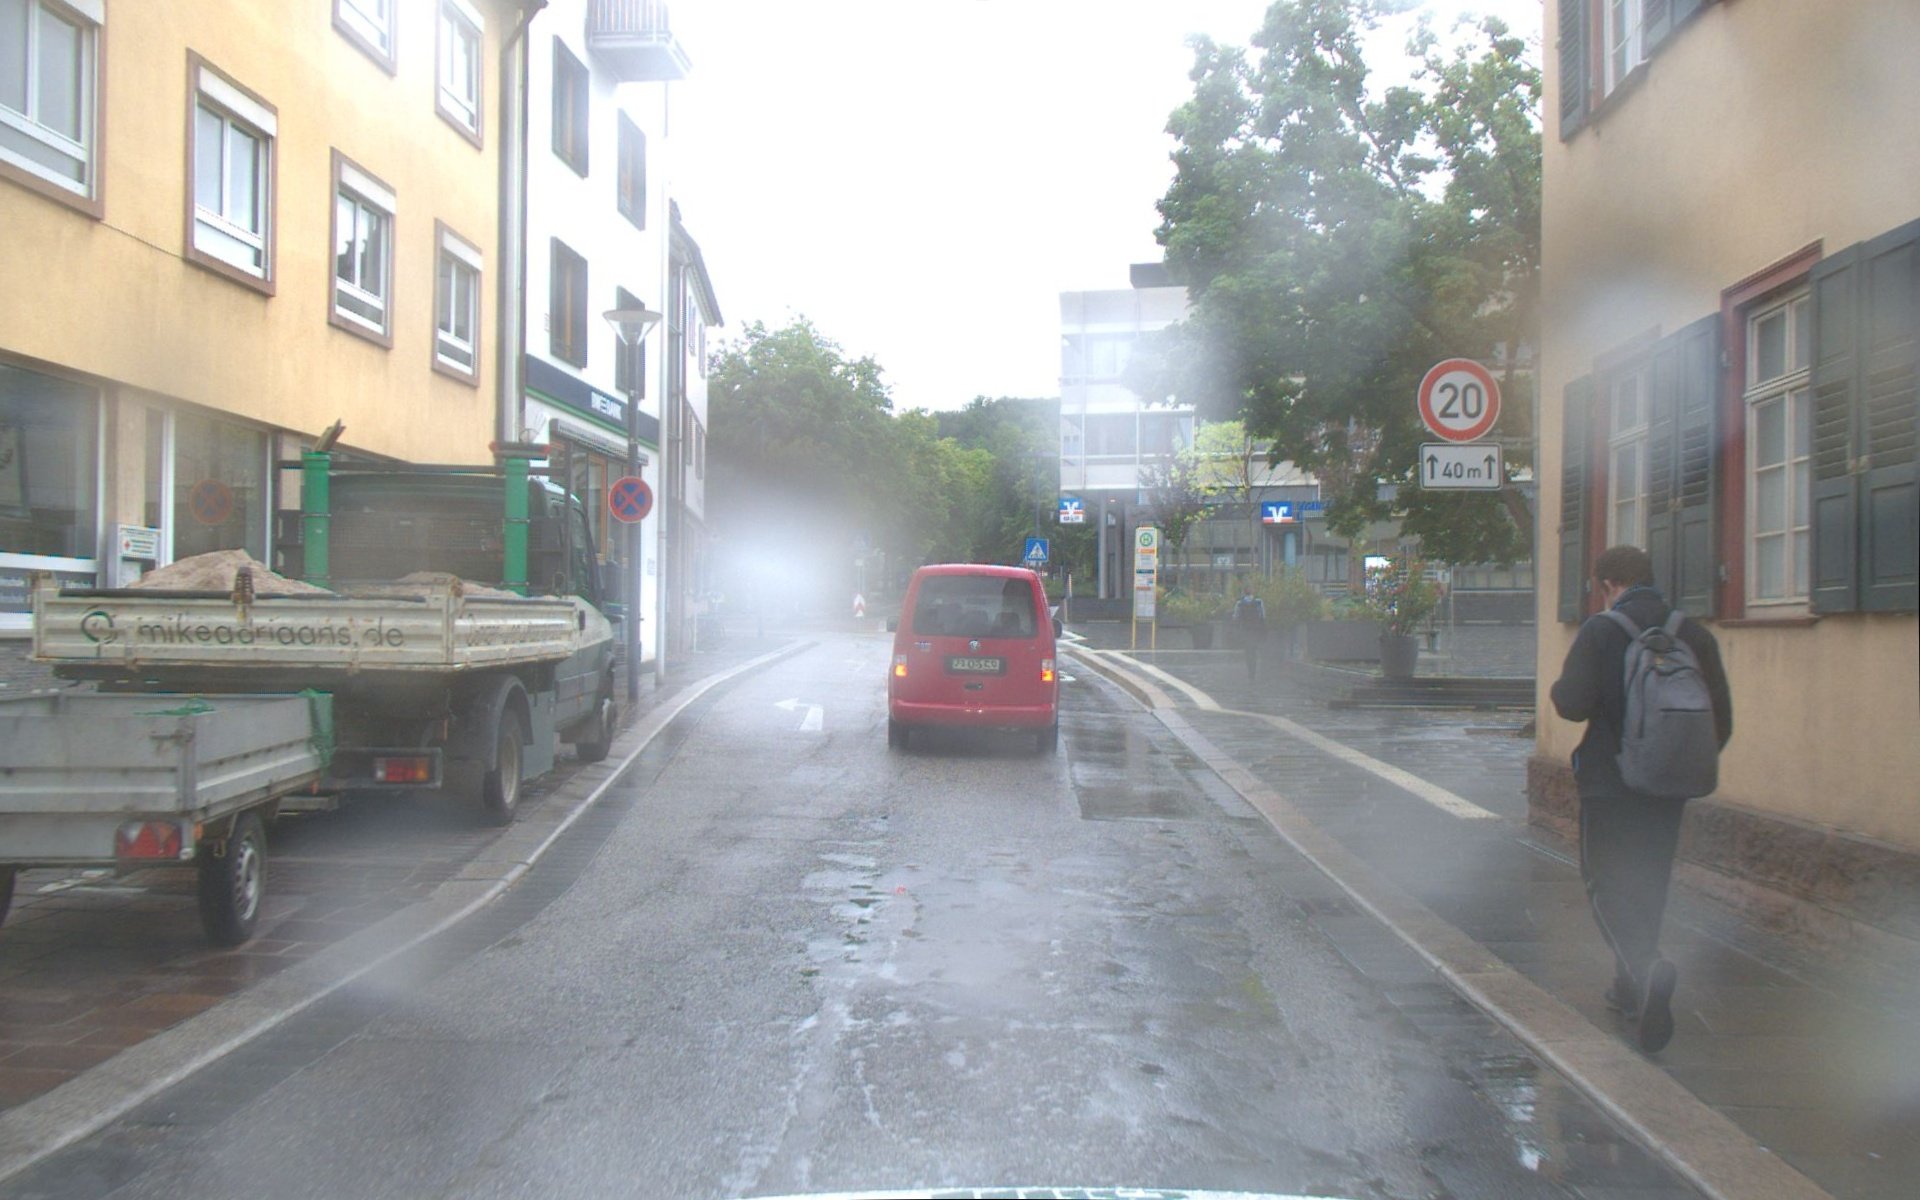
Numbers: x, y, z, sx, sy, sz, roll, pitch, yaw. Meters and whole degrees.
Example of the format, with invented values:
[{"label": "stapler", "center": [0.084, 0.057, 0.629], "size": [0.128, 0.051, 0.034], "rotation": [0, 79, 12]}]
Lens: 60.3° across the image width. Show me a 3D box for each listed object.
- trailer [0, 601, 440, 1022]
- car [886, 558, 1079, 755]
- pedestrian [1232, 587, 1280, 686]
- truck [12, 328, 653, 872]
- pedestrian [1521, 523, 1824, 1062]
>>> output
[{"label": "trailer", "center": [-3.533, 0.725, 7.171], "size": [1.693, 1.370, 3.159], "rotation": [-1, 1, -3]}, {"label": "car", "center": [0.149, 0.545, 17.731], "size": [1.824, 1.863, 4.183], "rotation": [0, 0, -2]}, {"label": "pedestrian", "center": [5.013, 0.618, 28.003], "size": [0.712, 1.645, 0.694], "rotation": [-1, -1, 4]}, {"label": "truck", "center": [-3.907, -0.064, 12.022], "size": [2.424, 2.844, 6.596], "rotation": [-1, 1, -3]}, {"label": "pedestrian", "center": [2.428, 0.612, 5.729], "size": [0.699, 1.722, 0.868], "rotation": [0, 0, 2]}]
